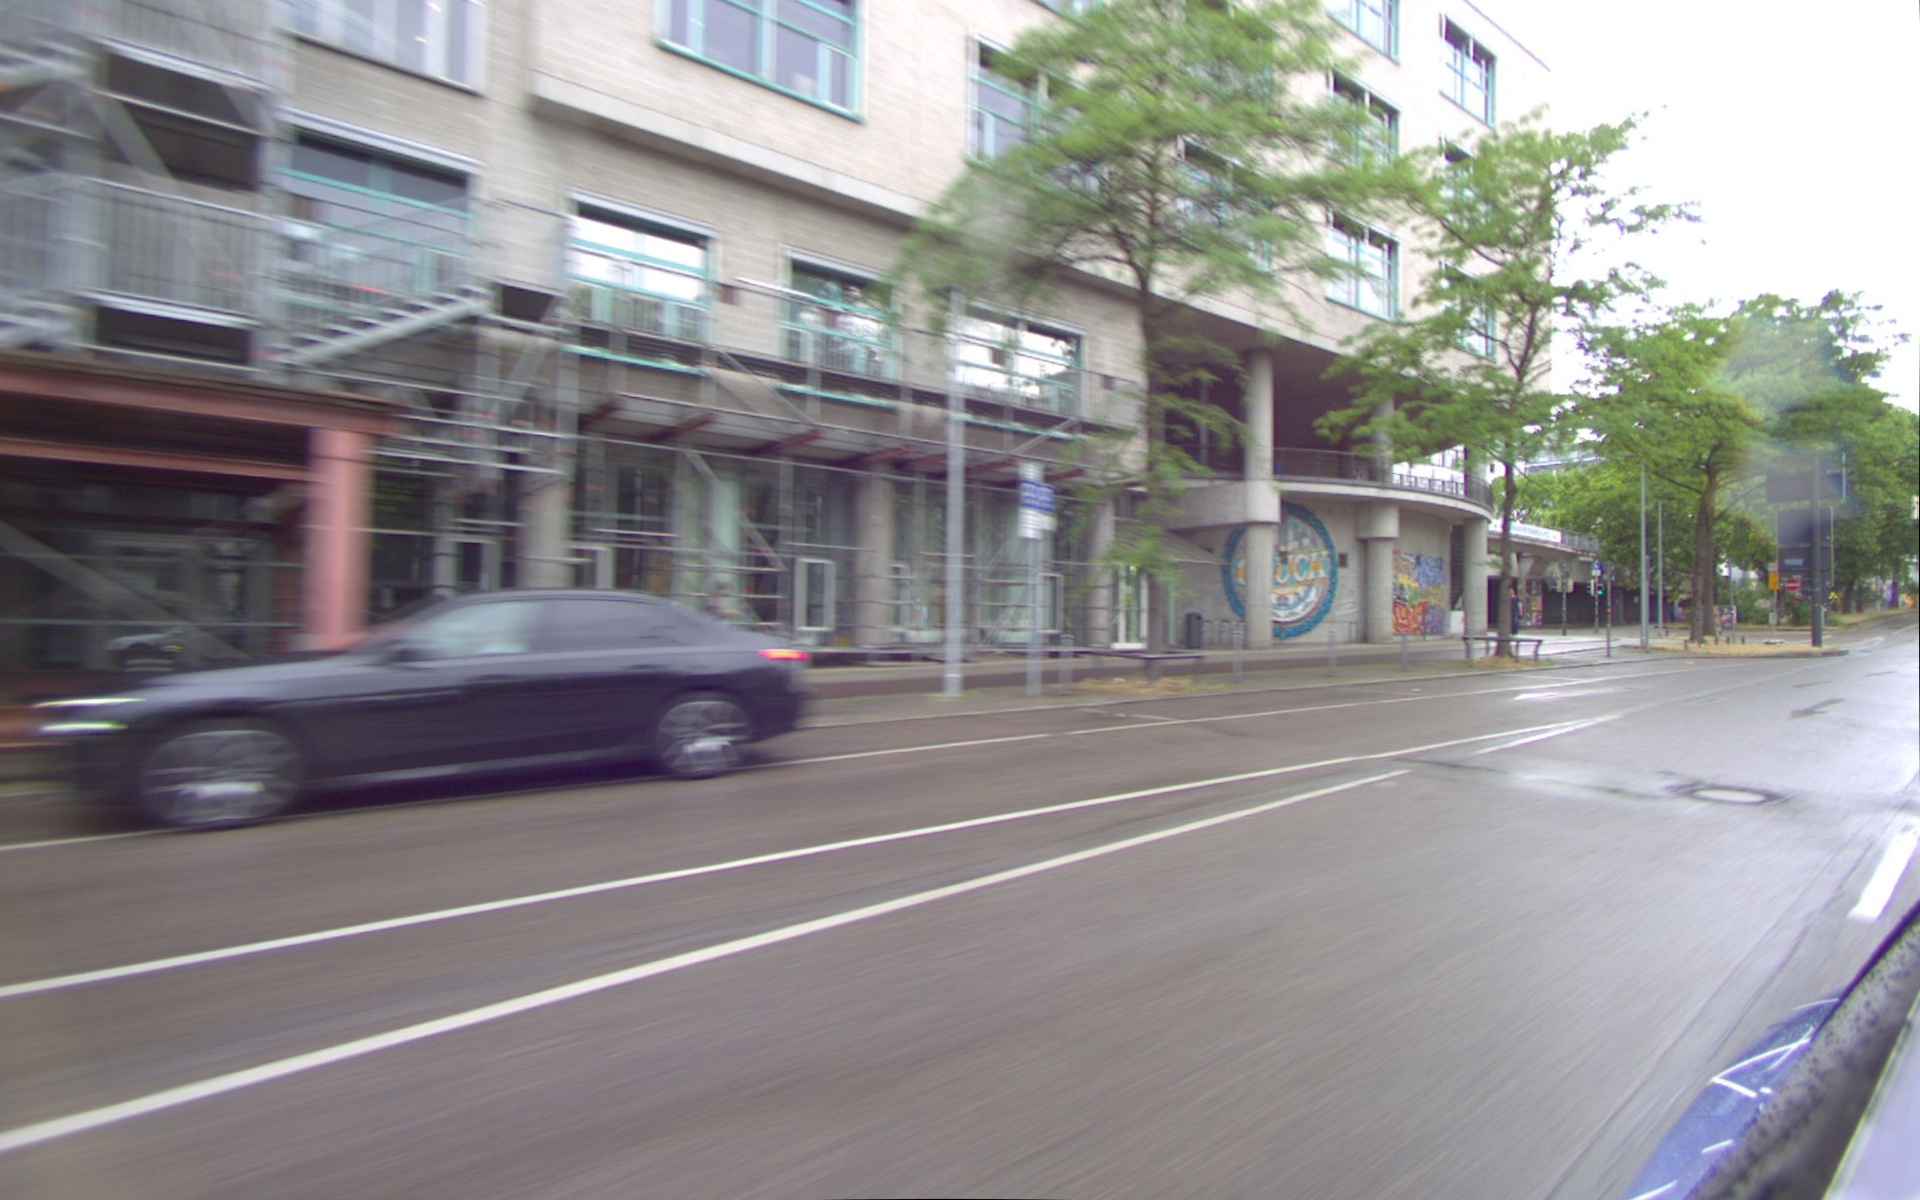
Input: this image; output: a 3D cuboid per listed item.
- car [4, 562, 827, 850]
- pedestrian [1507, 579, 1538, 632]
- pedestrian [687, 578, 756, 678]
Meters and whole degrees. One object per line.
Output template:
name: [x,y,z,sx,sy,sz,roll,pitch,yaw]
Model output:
car: [-3.831,0.594,8.025,5.189,1.621,2.000,0,0,-36]
pedestrian: [21.778,0.209,39.188,0.745,2.039,0.870,0,-1,-43]
pedestrian: [-3.993,0.450,16.944,0.907,1.616,0.705,0,-1,-41]
